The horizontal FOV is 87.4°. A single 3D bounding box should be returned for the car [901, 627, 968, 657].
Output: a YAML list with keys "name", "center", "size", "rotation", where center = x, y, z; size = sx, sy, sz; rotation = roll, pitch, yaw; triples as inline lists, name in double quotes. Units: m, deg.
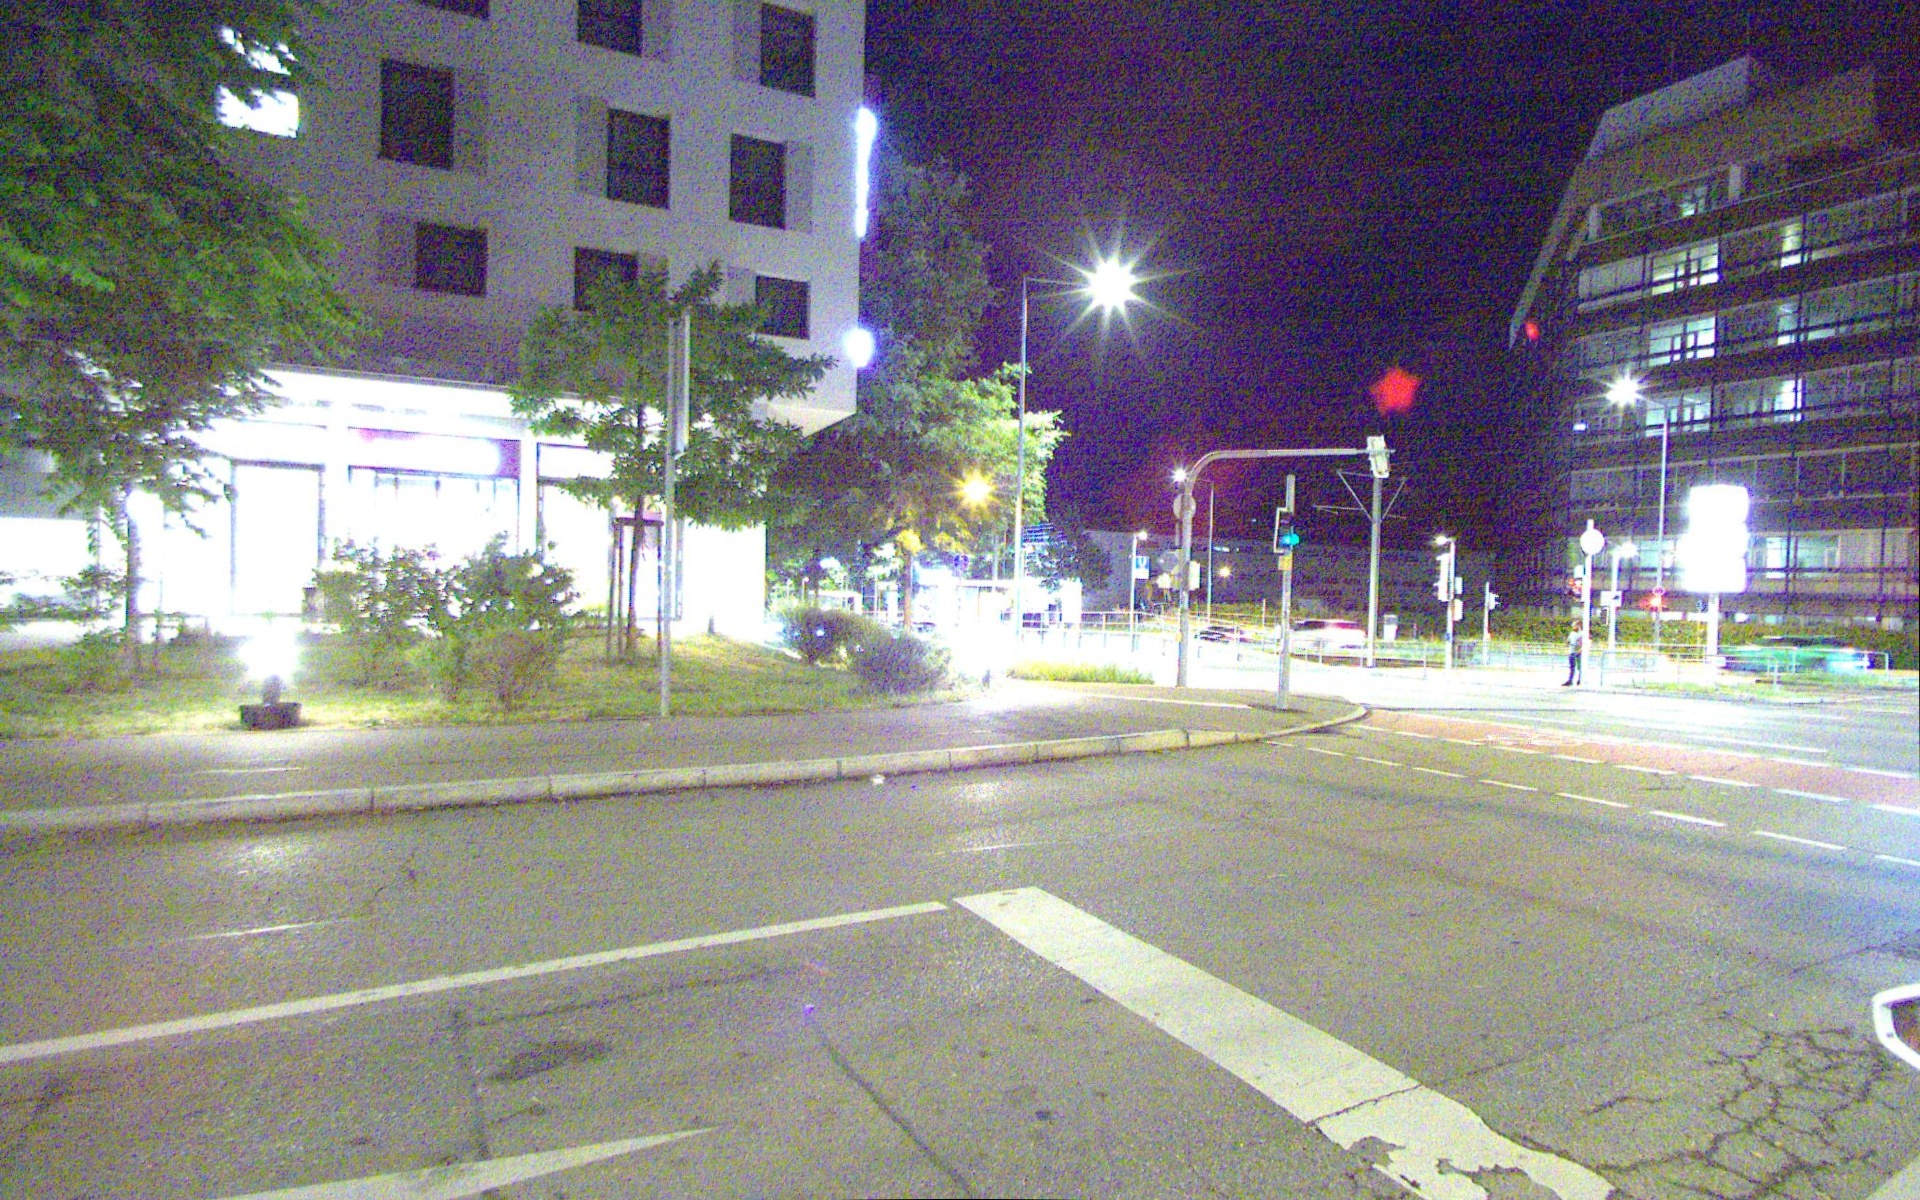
- name: "car"
  center: [-1.389, 2.149, 52.726]
  size: [1.722, 1.439, 4.557]
  rotation: [-2, -1, -26]

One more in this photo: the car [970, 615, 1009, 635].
- name: "car"
  center: [2.770, 2.409, 95.903]
  size: [1.916, 1.665, 4.382]
  rotation: [3, 0, -26]

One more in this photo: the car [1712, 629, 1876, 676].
- name: "car"
  center: [29.069, 1.774, 35.154]
  size: [1.819, 1.443, 4.045]
  rotation: [-1, 0, -27]

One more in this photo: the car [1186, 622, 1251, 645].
- name: "car"
  center: [17.238, 2.229, 67.207]
  size: [1.819, 1.406, 4.313]
  rotation: [3, -2, -26]

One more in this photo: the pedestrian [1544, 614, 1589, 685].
- name: "pedestrian"
  center: [15.602, 1.262, 25.850]
  size: [0.692, 1.745, 0.679]
  rotation: [2, 0, -2]

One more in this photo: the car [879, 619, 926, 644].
- name: "car"
  center: [-3.664, 1.943, 63.336]
  size: [1.719, 1.439, 4.241]
  rotation: [-1, 0, -22]

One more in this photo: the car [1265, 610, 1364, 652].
- name: "car"
  center: [17.931, 1.552, 51.056]
  size: [1.819, 1.869, 4.763]
  rotation: [3, 0, -26]

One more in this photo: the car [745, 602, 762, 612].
- name: "car"
  center: [-33.468, 1.138, 162.938]
  size: [1.845, 1.506, 3.822]
  rotation: [3, 0, -26]
